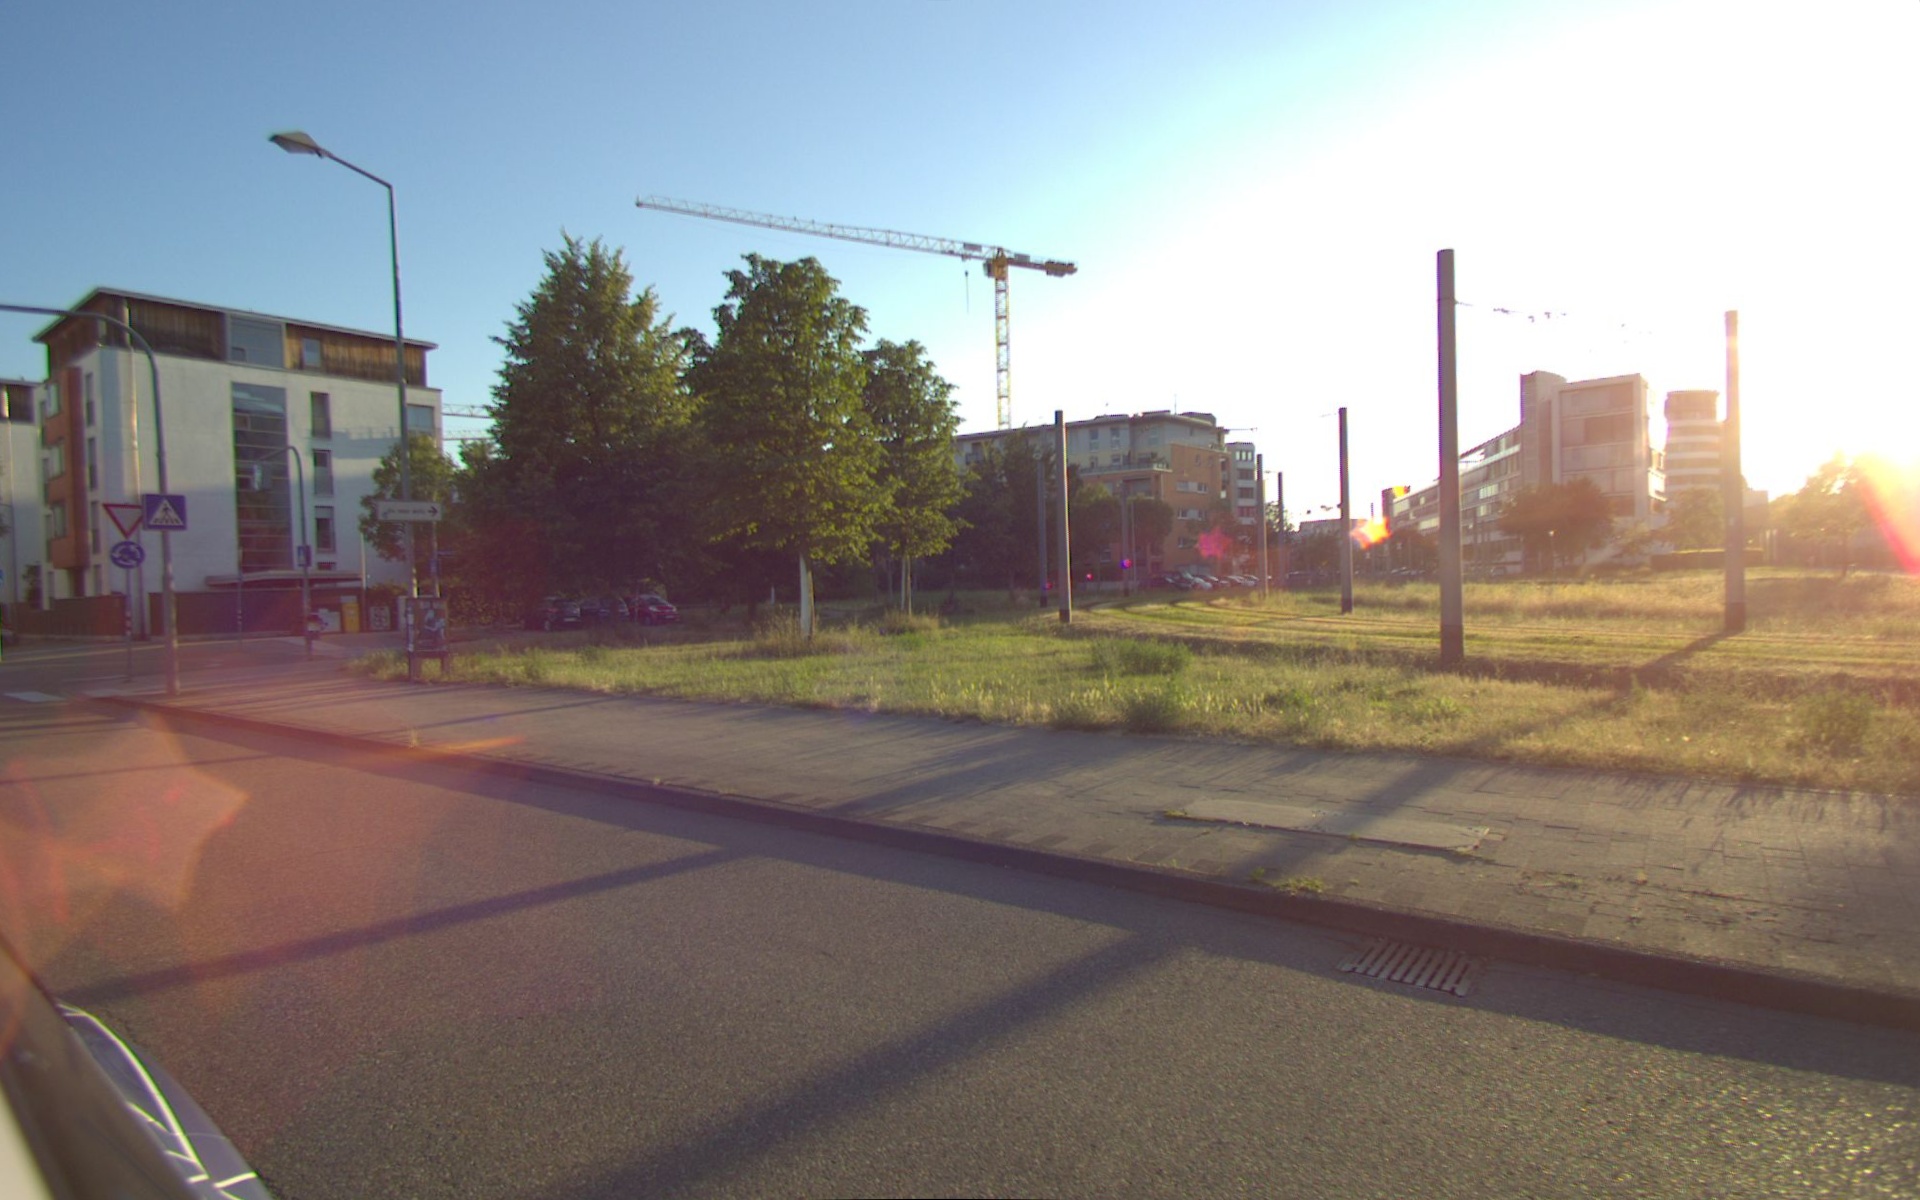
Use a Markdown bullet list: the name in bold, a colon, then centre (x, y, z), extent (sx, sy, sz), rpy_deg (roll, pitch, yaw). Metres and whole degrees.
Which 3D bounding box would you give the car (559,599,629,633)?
- **car**: centre (-17.075, 0.726, 47.174), extent (3.408, 1.511, 1.574), rpy_deg (0, 1, 40)

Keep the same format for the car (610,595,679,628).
- **car**: centre (-15.261, 0.542, 48.870), extent (3.408, 1.511, 1.574), rpy_deg (0, 1, 40)

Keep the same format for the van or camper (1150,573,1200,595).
- **van or camper**: centre (18.962, -1.405, 89.147), extent (3.874, 1.707, 1.812), rpy_deg (-2, 0, 38)

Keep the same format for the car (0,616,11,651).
- **car**: centre (-45.713, 1.669, 45.152), extent (1.710, 1.566, 4.725), rpy_deg (-2, 2, 41)

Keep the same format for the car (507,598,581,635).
- **car**: centre (-18.728, 0.725, 45.527), extent (3.408, 1.533, 1.669), rpy_deg (0, 1, 40)

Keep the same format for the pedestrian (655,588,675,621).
- **pedestrian**: centre (-15.542, 0.224, 53.306), extent (0.622, 1.679, 0.736), rpy_deg (-1, 2, 30)

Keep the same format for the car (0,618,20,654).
- **car**: centre (-41.717, 1.644, 41.565), extent (1.677, 1.468, 4.244), rpy_deg (-2, 2, 35)

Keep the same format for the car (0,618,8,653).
- **car**: centre (-43.988, 1.721, 43.002), extent (1.707, 1.489, 4.861), rpy_deg (-2, 2, 35)

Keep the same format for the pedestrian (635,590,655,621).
- **pedestrian**: centre (-17.050, 0.313, 54.820), extent (0.653, 1.611, 0.707), rpy_deg (-1, 2, 25)

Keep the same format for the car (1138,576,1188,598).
- **car**: centre (17.499, -1.153, 87.275), extent (3.870, 1.707, 1.683), rpy_deg (-2, 0, 35)
